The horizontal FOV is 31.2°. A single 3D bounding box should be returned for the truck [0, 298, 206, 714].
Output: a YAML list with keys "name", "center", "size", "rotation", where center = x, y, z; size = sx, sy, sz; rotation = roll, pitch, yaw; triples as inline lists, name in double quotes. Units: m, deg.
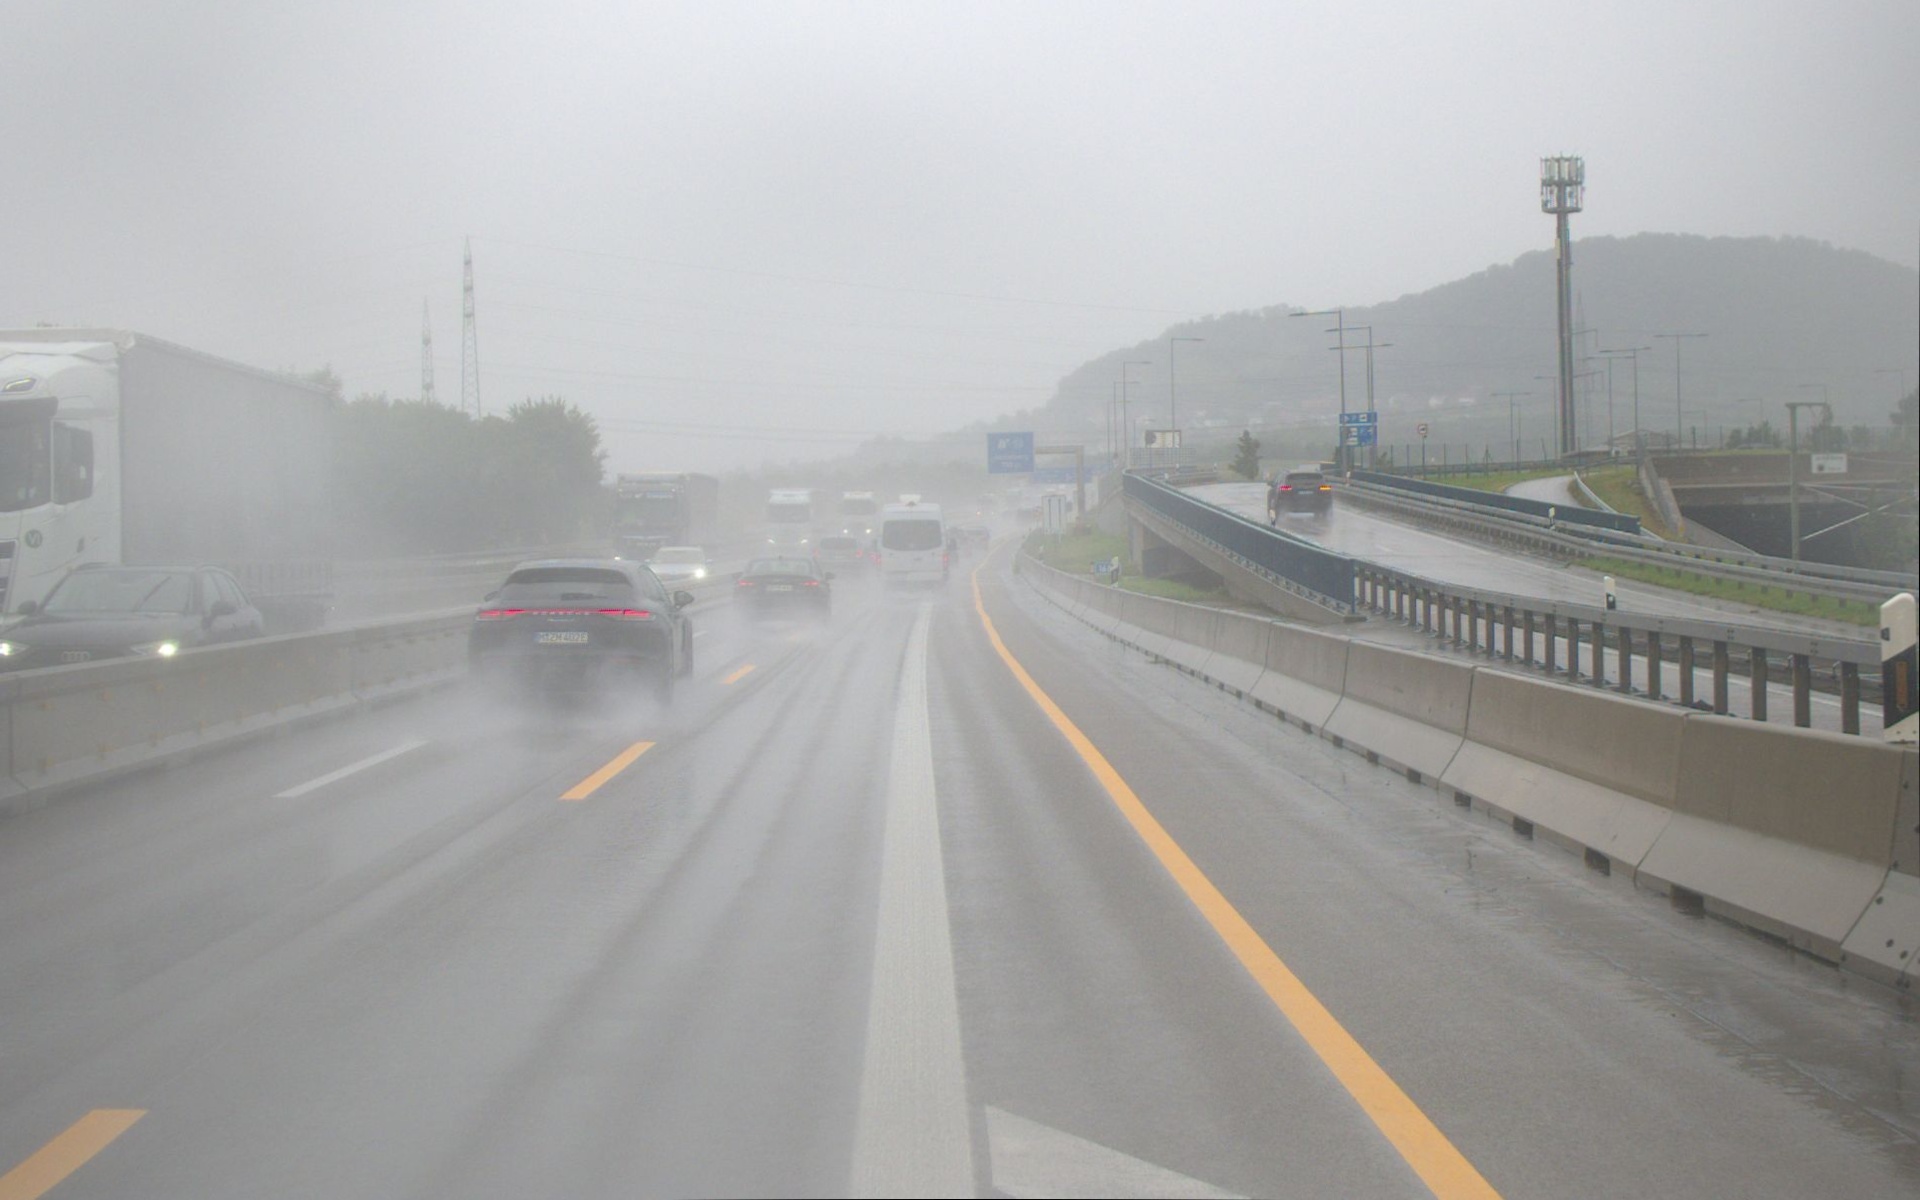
- name: "truck"
  center: [-10.543, -0.988, 38.599]
  size: [2.708, 4.263, 6.750]
  rotation: [0, 0, -1]

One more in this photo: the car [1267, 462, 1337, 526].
- name: "car"
  center: [11.963, -3.680, 120.474]
  size: [1.993, 2.135, 4.000]
  rotation: [0, 0, -1]

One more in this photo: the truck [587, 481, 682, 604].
- name: "truck"
  center: [-11.173, -1.937, 118.421]
  size: [2.642, 4.113, 6.695]
  rotation: [0, 0, 0]

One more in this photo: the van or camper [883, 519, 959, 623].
- name: "van or camper"
  center: [-1.070, -0.785, 93.484]
  size: [1.996, 2.768, 4.050]
  rotation: [0, 0, -1]

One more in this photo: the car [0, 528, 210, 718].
- name: "car"
  center: [-7.738, 0.156, 29.148]
  size: [1.893, 1.479, 4.000]
  rotation: [1, 0, -1]

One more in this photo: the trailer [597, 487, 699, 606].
- name: "trailer"
  center: [-11.207, -1.886, 124.508]
  size: [2.650, 4.095, 12.315]
  rotation: [0, 0, 0]

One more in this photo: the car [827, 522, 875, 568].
- name: "car"
  center: [-3.717, -1.868, 117.628]
  size: [1.566, 1.475, 2.822]
  rotation: [-3, 0, -1]

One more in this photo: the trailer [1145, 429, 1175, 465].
- name: "trailer"
  center: [14.725, -11.247, 253.901]
  size: [1.994, 2.099, 13.767]
  rotation: [0, 0, 3]

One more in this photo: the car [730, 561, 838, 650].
- name: "car"
  center: [-3.300, 0.077, 65.253]
  size: [1.844, 1.486, 4.262]
  rotation: [-3, 2, -1]

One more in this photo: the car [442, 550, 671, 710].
- name: "car"
  center: [-3.944, 0.268, 34.240]
  size: [1.844, 1.486, 4.262]
  rotation: [0, 0, -1]

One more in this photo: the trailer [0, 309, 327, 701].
- name: "trailer"
  center: [-10.593, -1.073, 43.979]
  size: [2.686, 4.263, 13.072]
  rotation: [0, 0, -1]
